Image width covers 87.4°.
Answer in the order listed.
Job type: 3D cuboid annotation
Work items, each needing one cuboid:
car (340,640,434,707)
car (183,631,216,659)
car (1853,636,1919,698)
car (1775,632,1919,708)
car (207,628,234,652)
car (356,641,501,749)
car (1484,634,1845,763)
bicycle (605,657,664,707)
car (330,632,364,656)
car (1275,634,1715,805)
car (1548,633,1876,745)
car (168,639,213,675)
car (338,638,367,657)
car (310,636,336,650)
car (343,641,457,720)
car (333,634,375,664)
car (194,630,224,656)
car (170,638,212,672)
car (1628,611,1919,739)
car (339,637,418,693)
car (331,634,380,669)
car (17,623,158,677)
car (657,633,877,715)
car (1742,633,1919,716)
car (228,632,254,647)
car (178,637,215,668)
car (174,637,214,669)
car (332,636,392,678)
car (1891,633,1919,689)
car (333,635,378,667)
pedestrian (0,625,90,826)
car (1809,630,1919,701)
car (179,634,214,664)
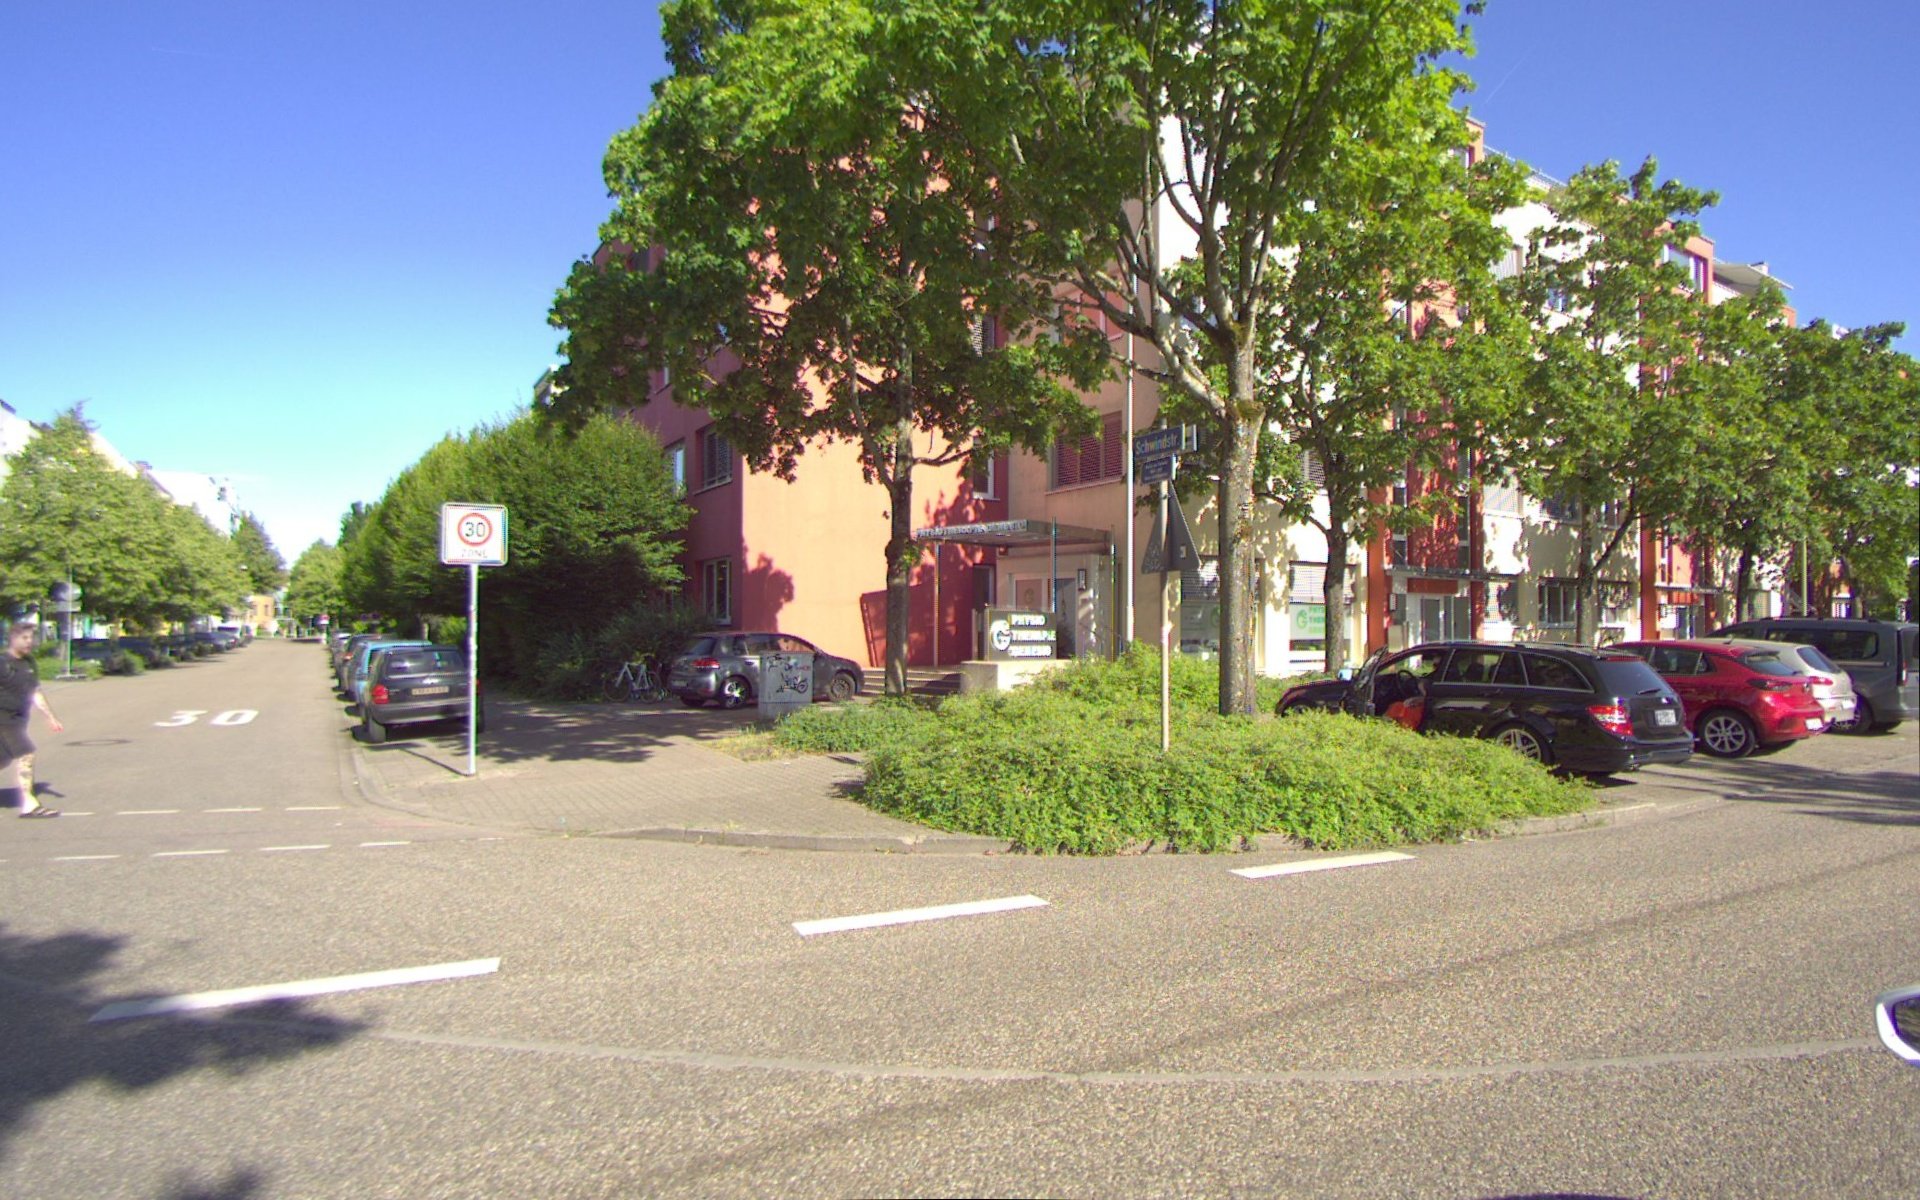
[{"bbox_3d":[-15.036,1.846,26.249,1.916,1.524,3.973,-2,-1,-33],"label":"car"},{"bbox_3d":[-54.999,3.217,72.715,1.828,1.829,3.958,1,0,-37],"label":"car"},{"bbox_3d":[24.030,1.637,24.004,1.821,1.446,3.704,1,0,-33],"label":"car"},{"bbox_3d":[19.950,1.471,21.380,1.842,1.466,3.700,1,0,-36],"label":"car"},{"bbox_3d":[-63.218,3.393,85.887,1.828,1.829,3.958,1,0,-37],"label":"car"},{"bbox_3d":[-8.906,1.464,16.682,1.784,1.466,3.960,-2,-1,-33],"label":"car"},{"bbox_3d":[9.825,1.264,14.310,1.720,1.442,3.870,1,0,-32],"label":"car"},{"bbox_3d":[-7.026,1.753,21.650,1.650,0.999,0.448,-2,-3,42],"label":"bicycle"},{"bbox_3d":[-42.203,3.018,69.086,1.916,1.524,3.884,-2,-1,-33],"label":"car"},{"bbox_3d":[5.843,1.184,11.569,1.718,1.442,4.244,1,0,-29],"label":"car"},{"bbox_3d":[11.881,1.310,16.119,1.720,1.442,3.870,1,0,-32],"label":"car"},{"bbox_3d":[-41.580,3.038,54.333,1.828,1.829,3.959,1,-3,-37],"label":"car"},{"bbox_3d":[-49.368,3.847,81.591,1.916,1.524,3.884,1,-2,-33],"label":"car"},{"bbox_3d":[-66.376,4.482,104.629,1.981,1.449,4.597,2,-3,-36],"label":"car"},{"bbox_3d":[-12.285,1.664,21.900,1.916,1.469,3.973,-2,-1,-33],"label":"car"},{"bbox_3d":[-34.236,2.743,56.733,1.916,1.524,3.884,-2,-1,-33],"label":"car"},{"bbox_3d":[-59.391,3.384,79.490,1.828,1.829,3.958,1,0,-37],"label":"car"},{"bbox_3d":[-44.276,3.126,57.883,1.828,1.829,3.958,1,-1,-37],"label":"car"},{"bbox_3d":[13.800,1.146,16.931,1.766,1.835,3.870,1,0,-32],"label":"car"},{"bbox_3d":[-18.019,1.939,31.058,1.916,1.524,3.973,-2,-1,-33],"label":"car"},{"bbox_3d":[-29.356,2.461,48.707,1.916,1.524,3.884,-2,-1,-33],"label":"car"},{"bbox_3d":[-34.248,1.947,39.569,3.961,2.040,1.980,1,-2,-36],"label":"car"},{"bbox_3d":[-3.799,1.415,20.217,4.105,1.462,1.717,1,-3,-44],"label":"car"},{"bbox_3d":[18.093,1.442,19.947,1.858,1.466,3.700,1,0,-36],"label":"car"},{"bbox_3d":[-69.139,3.832,96.635,1.892,1.387,3.962,1,-3,-35],"label":"car"},{"bbox_3d":[-49.754,3.389,65.505,1.828,1.829,3.958,1,-1,-37],"label":"car"},{"bbox_3d":[-47.091,3.232,61.806,1.828,1.829,3.958,1,-1,-37],"label":"car"},{"bbox_3d":[-23.890,2.222,40.076,1.916,1.524,3.973,-2,-1,-33],"label":"car"},{"bbox_3d":[26.365,1.607,25.500,1.754,1.446,3.704,1,0,-33],"label":"car"},{"bbox_3d":[-31.717,2.640,52.659,1.916,1.524,3.884,-2,-1,-33],"label":"car"},{"bbox_3d":[-8.581,1.108,9.003,1.010,1.748,0.654,1,-3,-29],"label":"pedestrian"},{"bbox_3d":[22.006,1.492,22.884,1.840,1.528,3.704,1,0,-33],"label":"car"},{"bbox_3d":[-52.490,3.343,69.120,1.828,1.829,3.958,1,0,-37],"label":"car"}]
